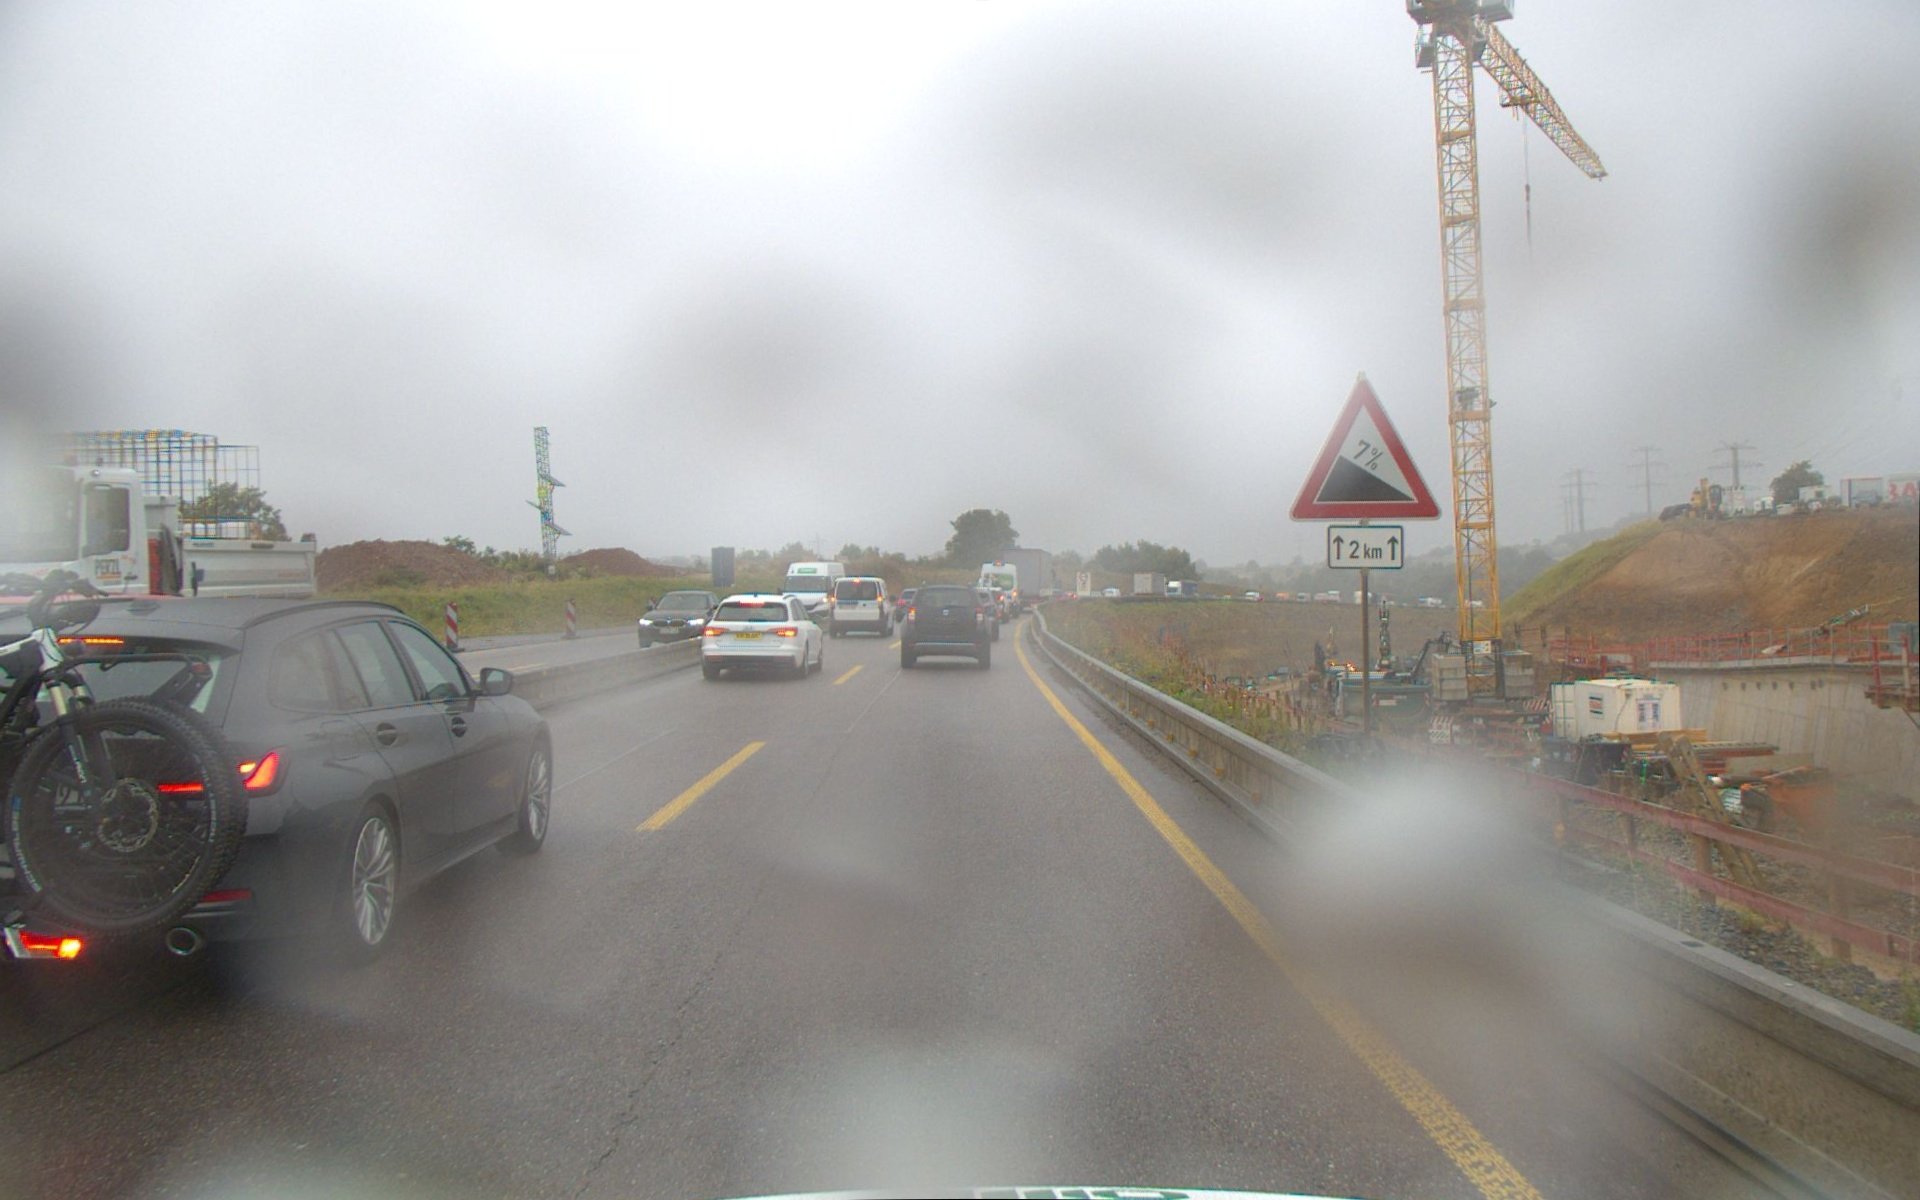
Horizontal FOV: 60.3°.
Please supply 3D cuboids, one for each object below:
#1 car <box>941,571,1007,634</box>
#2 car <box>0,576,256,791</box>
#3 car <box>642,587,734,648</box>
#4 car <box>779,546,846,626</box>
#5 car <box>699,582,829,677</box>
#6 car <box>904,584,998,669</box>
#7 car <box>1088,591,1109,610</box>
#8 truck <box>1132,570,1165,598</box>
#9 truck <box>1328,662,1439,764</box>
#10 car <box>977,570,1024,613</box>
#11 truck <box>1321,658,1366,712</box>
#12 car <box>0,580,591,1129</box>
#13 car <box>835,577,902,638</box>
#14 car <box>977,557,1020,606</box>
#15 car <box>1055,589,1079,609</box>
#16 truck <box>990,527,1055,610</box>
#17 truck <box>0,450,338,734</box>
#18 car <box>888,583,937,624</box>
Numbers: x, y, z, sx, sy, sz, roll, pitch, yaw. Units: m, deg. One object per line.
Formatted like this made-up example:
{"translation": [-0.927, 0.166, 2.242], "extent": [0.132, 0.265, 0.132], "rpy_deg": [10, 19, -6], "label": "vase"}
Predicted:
{"translation": [0.477, 0.075, 51.340], "extent": [1.788, 1.847, 4.002], "rpy_deg": [1, 0, 4], "label": "car"}
{"translation": [-6.983, 0.545, 12.749], "extent": [1.604, 1.421, 3.591], "rpy_deg": [1, 0, -1], "label": "car"}
{"translation": [-7.197, 0.432, 44.130], "extent": [1.711, 1.521, 4.749], "rpy_deg": [0, 0, 0], "label": "car"}
{"translation": [-6.049, -0.566, 68.674], "extent": [1.952, 3.098, 7.172], "rpy_deg": [1, 0, 1], "label": "car"}
{"translation": [-3.382, 0.495, 29.213], "extent": [1.789, 1.525, 4.000], "rpy_deg": [1, 0, 0], "label": "car"}
{"translation": [-0.156, 0.518, 33.864], "extent": [1.789, 1.619, 4.000], "rpy_deg": [1, 0, 1], "label": "car"}
{"translation": [17.277, 0.085, 206.445], "extent": [1.991, 2.295, 4.161], "rpy_deg": [1, 0, 14], "label": "car"}
{"translation": [26.339, -2.204, 230.681], "extent": [3.398, 3.780, 8.423], "rpy_deg": [0, 1, 15], "label": "truck"}
{"translation": [17.194, 4.488, 67.729], "extent": [2.643, 3.565, 8.951], "rpy_deg": [1, 0, 3], "label": "truck"}
{"translation": [1.813, -0.345, 73.208], "extent": [1.788, 1.847, 4.002], "rpy_deg": [1, 0, 5], "label": "car"}
{"translation": [28.275, 6.232, 122.221], "extent": [2.671, 3.552, 9.072], "rpy_deg": [1, 0, 9], "label": "truck"}
{"translation": [-3.070, 0.715, 7.639], "extent": [1.700, 1.488, 5.627], "rpy_deg": [0, 2, -2], "label": "car"}
{"translation": [-2.845, 0.240, 52.291], "extent": [1.788, 1.847, 4.000], "rpy_deg": [1, 0, 1], "label": "car"}
{"translation": [2.052, -0.946, 87.257], "extent": [1.787, 2.480, 4.161], "rpy_deg": [1, 0, 7], "label": "car"}
{"translation": [11.922, -0.131, 183.972], "extent": [1.991, 2.150, 4.161], "rpy_deg": [1, 0, 12], "label": "car"}
{"translation": [4.252, -1.974, 109.299], "extent": [3.468, 5.166, 10.448], "rpy_deg": [1, 0, 6], "label": "truck"}
{"translation": [-10.204, -0.089, 20.551], "extent": [2.310, 2.944, 6.549], "rpy_deg": [-2, 0, 1], "label": "truck"}
{"translation": [-2.143, 0.171, 75.992], "extent": [1.788, 1.847, 4.002], "rpy_deg": [1, 0, 4], "label": "car"}
